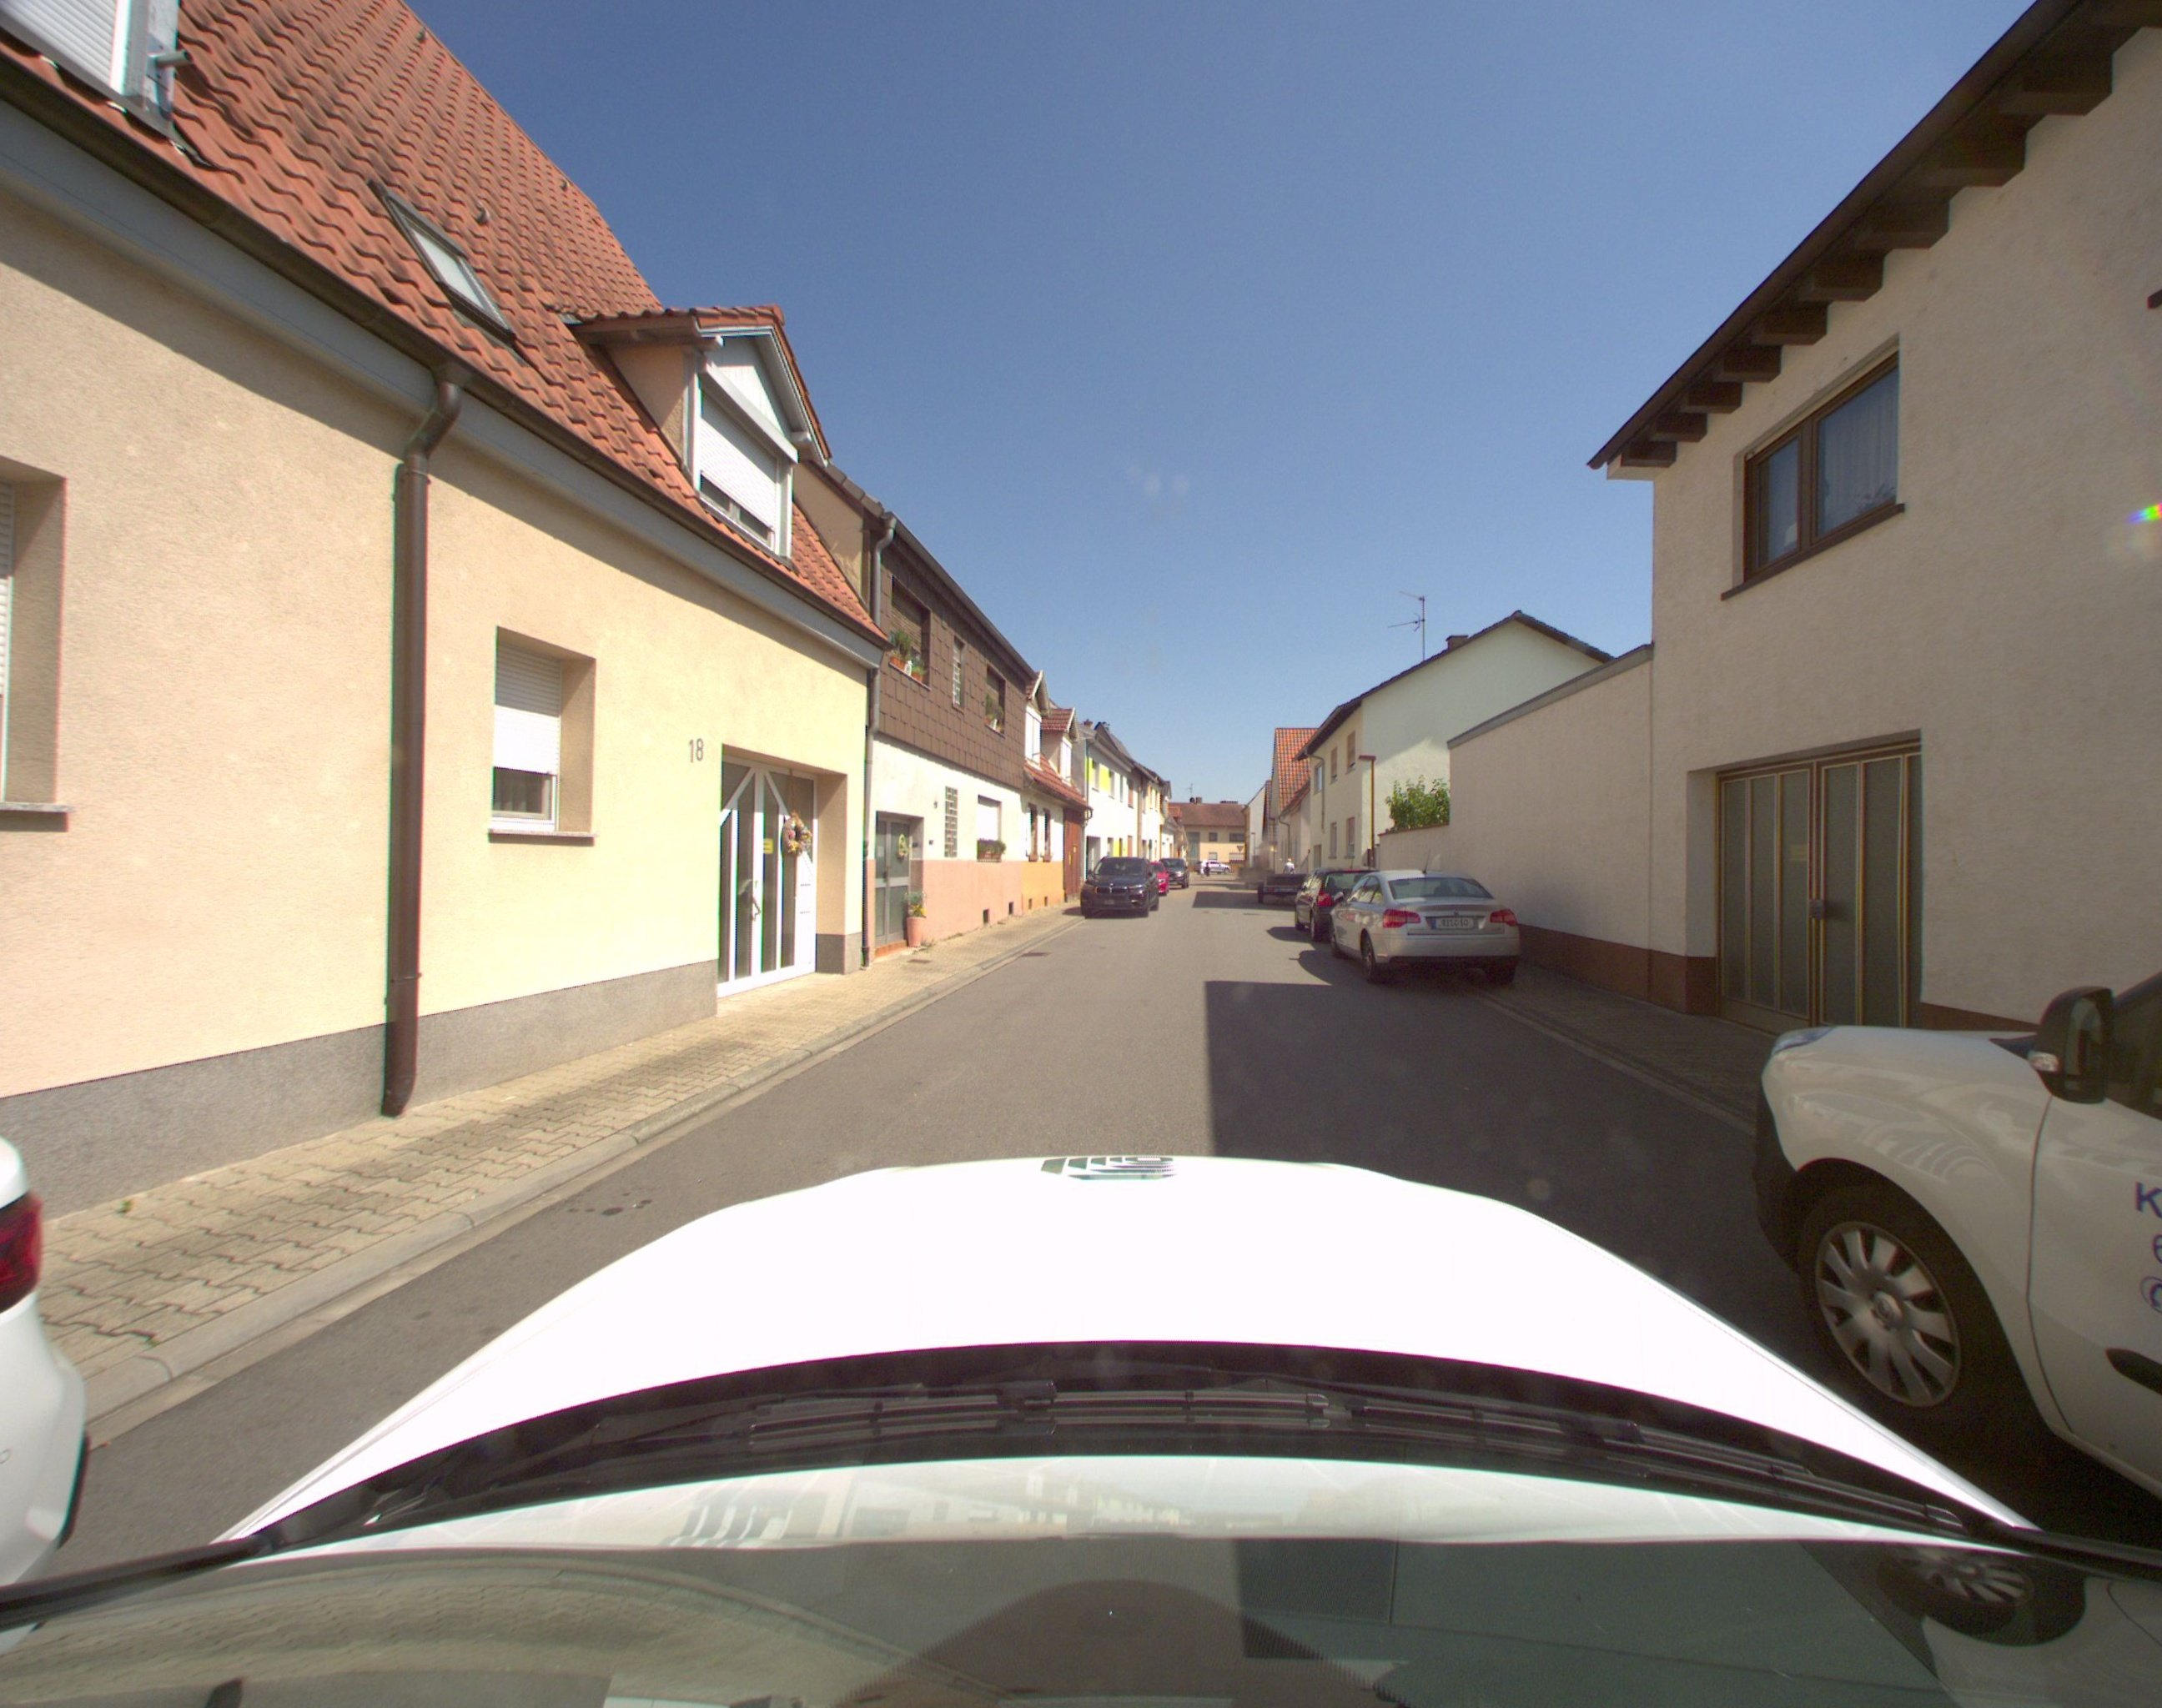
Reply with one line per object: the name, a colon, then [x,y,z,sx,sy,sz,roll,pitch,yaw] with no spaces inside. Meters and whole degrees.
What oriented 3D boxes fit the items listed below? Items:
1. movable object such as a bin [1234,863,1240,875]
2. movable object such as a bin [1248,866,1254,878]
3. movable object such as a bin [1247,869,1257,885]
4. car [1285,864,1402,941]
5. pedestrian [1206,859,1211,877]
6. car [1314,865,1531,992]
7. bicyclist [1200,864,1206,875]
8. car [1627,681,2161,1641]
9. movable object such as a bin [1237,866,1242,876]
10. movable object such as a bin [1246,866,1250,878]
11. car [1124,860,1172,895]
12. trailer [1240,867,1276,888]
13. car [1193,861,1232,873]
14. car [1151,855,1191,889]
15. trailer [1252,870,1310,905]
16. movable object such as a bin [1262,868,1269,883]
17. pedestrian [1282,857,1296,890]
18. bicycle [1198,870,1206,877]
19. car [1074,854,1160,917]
movable object such as a bin: [15.210,1.482,79.336,0.566,1.128,0.454,0,-1,7]
movable object such as a bin: [15.721,1.692,75.462,0.522,1.128,0.367,0,-1,6]
movable object such as a bin: [11.340,1.547,54.042,0.581,1.033,0.597,0,-1,8]
car: [5.440,0.935,17.350,1.640,1.436,4.142,0,-1,7]
pedestrian: [11.878,1.287,75.660,0.410,1.610,0.368,0,-1,-1]
car: [4.728,0.923,12.105,1.780,1.481,4.945,-1,-1,8]
bicyclist: [11.308,1.458,75.760,0.461,0.959,0.350,0,-2,-11]
car: [2.904,0.601,0.848,1.801,1.825,4.858,2,-1,6]
movable object such as a bin: [15.313,1.628,78.700,0.421,0.975,0.474,0,-1,7]
movable object such as a bin: [16.001,1.728,78.021,0.423,1.128,0.414,0,-1,7]
car: [2.972,0.985,35.399,1.790,1.441,4.497,0,-1,8]
trailer: [9.528,1.258,44.022,1.689,1.033,3.490,0,0,9]
car: [16.835,1.679,104.475,4.767,1.585,1.788,0,-1,-22]
car: [4.797,0.940,42.989,1.789,1.704,4.498,-1,-1,9]
trailer: [7.138,1.165,29.286,1.806,1.090,3.490,0,0,10]
movable object such as a bin: [13.642,1.576,60.248,0.455,1.087,0.503,0,-1,8]
pedestrian: [10.066,0.956,39.377,0.592,1.565,0.558,0,-4,7]
bicycle: [11.288,1.804,75.789,0.441,0.567,0.936,1,-1,-11]
car: [1.117,0.812,22.821,1.789,1.574,4.627,0,-1,10]
